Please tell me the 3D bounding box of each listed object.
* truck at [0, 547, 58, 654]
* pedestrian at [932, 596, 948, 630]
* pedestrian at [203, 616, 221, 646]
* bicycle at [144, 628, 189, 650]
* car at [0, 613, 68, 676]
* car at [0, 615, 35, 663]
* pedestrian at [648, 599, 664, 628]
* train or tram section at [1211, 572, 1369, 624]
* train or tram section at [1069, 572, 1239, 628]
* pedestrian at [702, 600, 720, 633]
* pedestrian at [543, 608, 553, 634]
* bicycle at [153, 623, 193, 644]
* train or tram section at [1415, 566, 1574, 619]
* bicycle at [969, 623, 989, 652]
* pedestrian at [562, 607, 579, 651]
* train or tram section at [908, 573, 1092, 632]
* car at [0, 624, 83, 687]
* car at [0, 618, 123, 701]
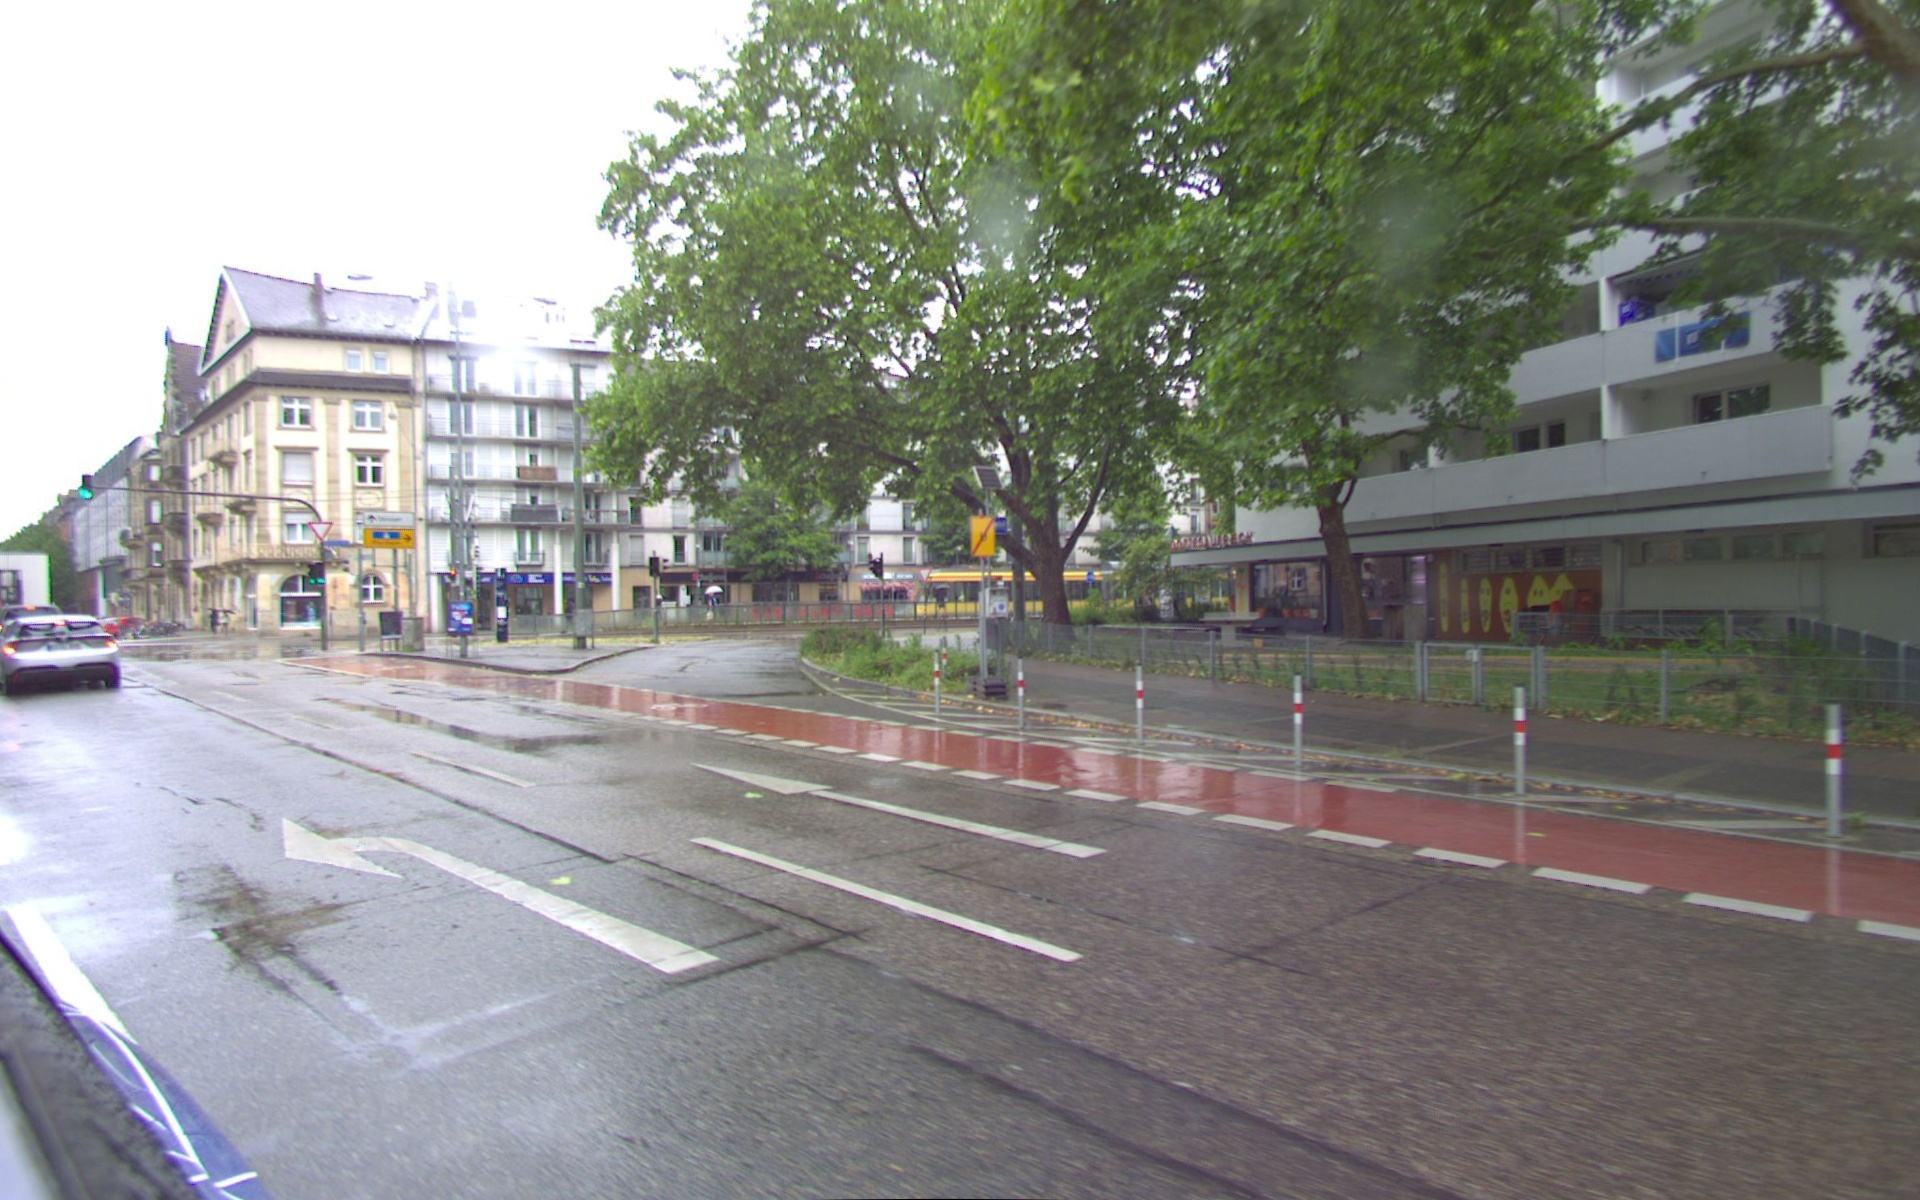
[{"bbox_3d":[-40.104,0.128,42.141,10.315,4.056,2.815,-2,-1,43],"label":"truck"},{"bbox_3d":[-1.104,0.732,55.957,0.667,1.852,0.642,0,-1,-23],"label":"pedestrian"},{"bbox_3d":[-49.549,2.046,67.027,0.906,1.980,0.702,-1,2,-35],"label":"pedestrian"},{"bbox_3d":[-53.095,2.603,67.719,0.639,1.356,2.317,-2,-1,39],"label":"bicycle"},{"bbox_3d":[-29.912,1.382,32.406,1.786,1.876,4.111,-1,-1,-45],"label":"car"},{"bbox_3d":[-34.058,1.374,35.839,1.722,1.616,4.002,-1,-1,-45],"label":"car"},{"bbox_3d":[-17.714,0.779,58.937,0.743,1.661,0.840,0,-1,-25],"label":"pedestrian"},{"bbox_3d":[23.774,-0.175,72.666,11.376,3.530,3.083,-1,-1,-22],"label":"train or tram section"},{"bbox_3d":[13.168,-0.032,68.467,11.376,3.530,3.083,-1,-1,-22],"label":"train or tram section"},{"bbox_3d":[-12.694,0.837,51.617,0.803,1.661,0.796,0,-1,-22],"label":"pedestrian"},{"bbox_3d":[-28.686,1.481,70.424,0.601,1.793,0.501,-1,-1,-21],"label":"pedestrian"},{"bbox_3d":[-53.105,2.272,68.286,0.584,1.356,2.036,-2,-1,39],"label":"bicycle"},{"bbox_3d":[37.334,-0.542,70.626,11.376,3.530,3.083,-1,-1,-22],"label":"train or tram section"},{"bbox_3d":[0.669,1.275,35.233,0.630,0.875,2.316,-2,1,2],"label":"bicycle"},{"bbox_3d":[-18.871,1.388,48.994,0.690,2.093,0.639,-1,-1,-27],"label":"pedestrian"},{"bbox_3d":[2.613,0.109,64.310,11.376,3.530,3.083,-1,-1,-22],"label":"train or tram section"},{"bbox_3d":[-24.263,1.389,26.444,1.723,1.400,4.365,-2,1,-45],"label":"car"},{"bbox_3d":[-18.867,1.170,21.011,4.056,1.521,1.825,-1,-1,44],"label":"car"}]
